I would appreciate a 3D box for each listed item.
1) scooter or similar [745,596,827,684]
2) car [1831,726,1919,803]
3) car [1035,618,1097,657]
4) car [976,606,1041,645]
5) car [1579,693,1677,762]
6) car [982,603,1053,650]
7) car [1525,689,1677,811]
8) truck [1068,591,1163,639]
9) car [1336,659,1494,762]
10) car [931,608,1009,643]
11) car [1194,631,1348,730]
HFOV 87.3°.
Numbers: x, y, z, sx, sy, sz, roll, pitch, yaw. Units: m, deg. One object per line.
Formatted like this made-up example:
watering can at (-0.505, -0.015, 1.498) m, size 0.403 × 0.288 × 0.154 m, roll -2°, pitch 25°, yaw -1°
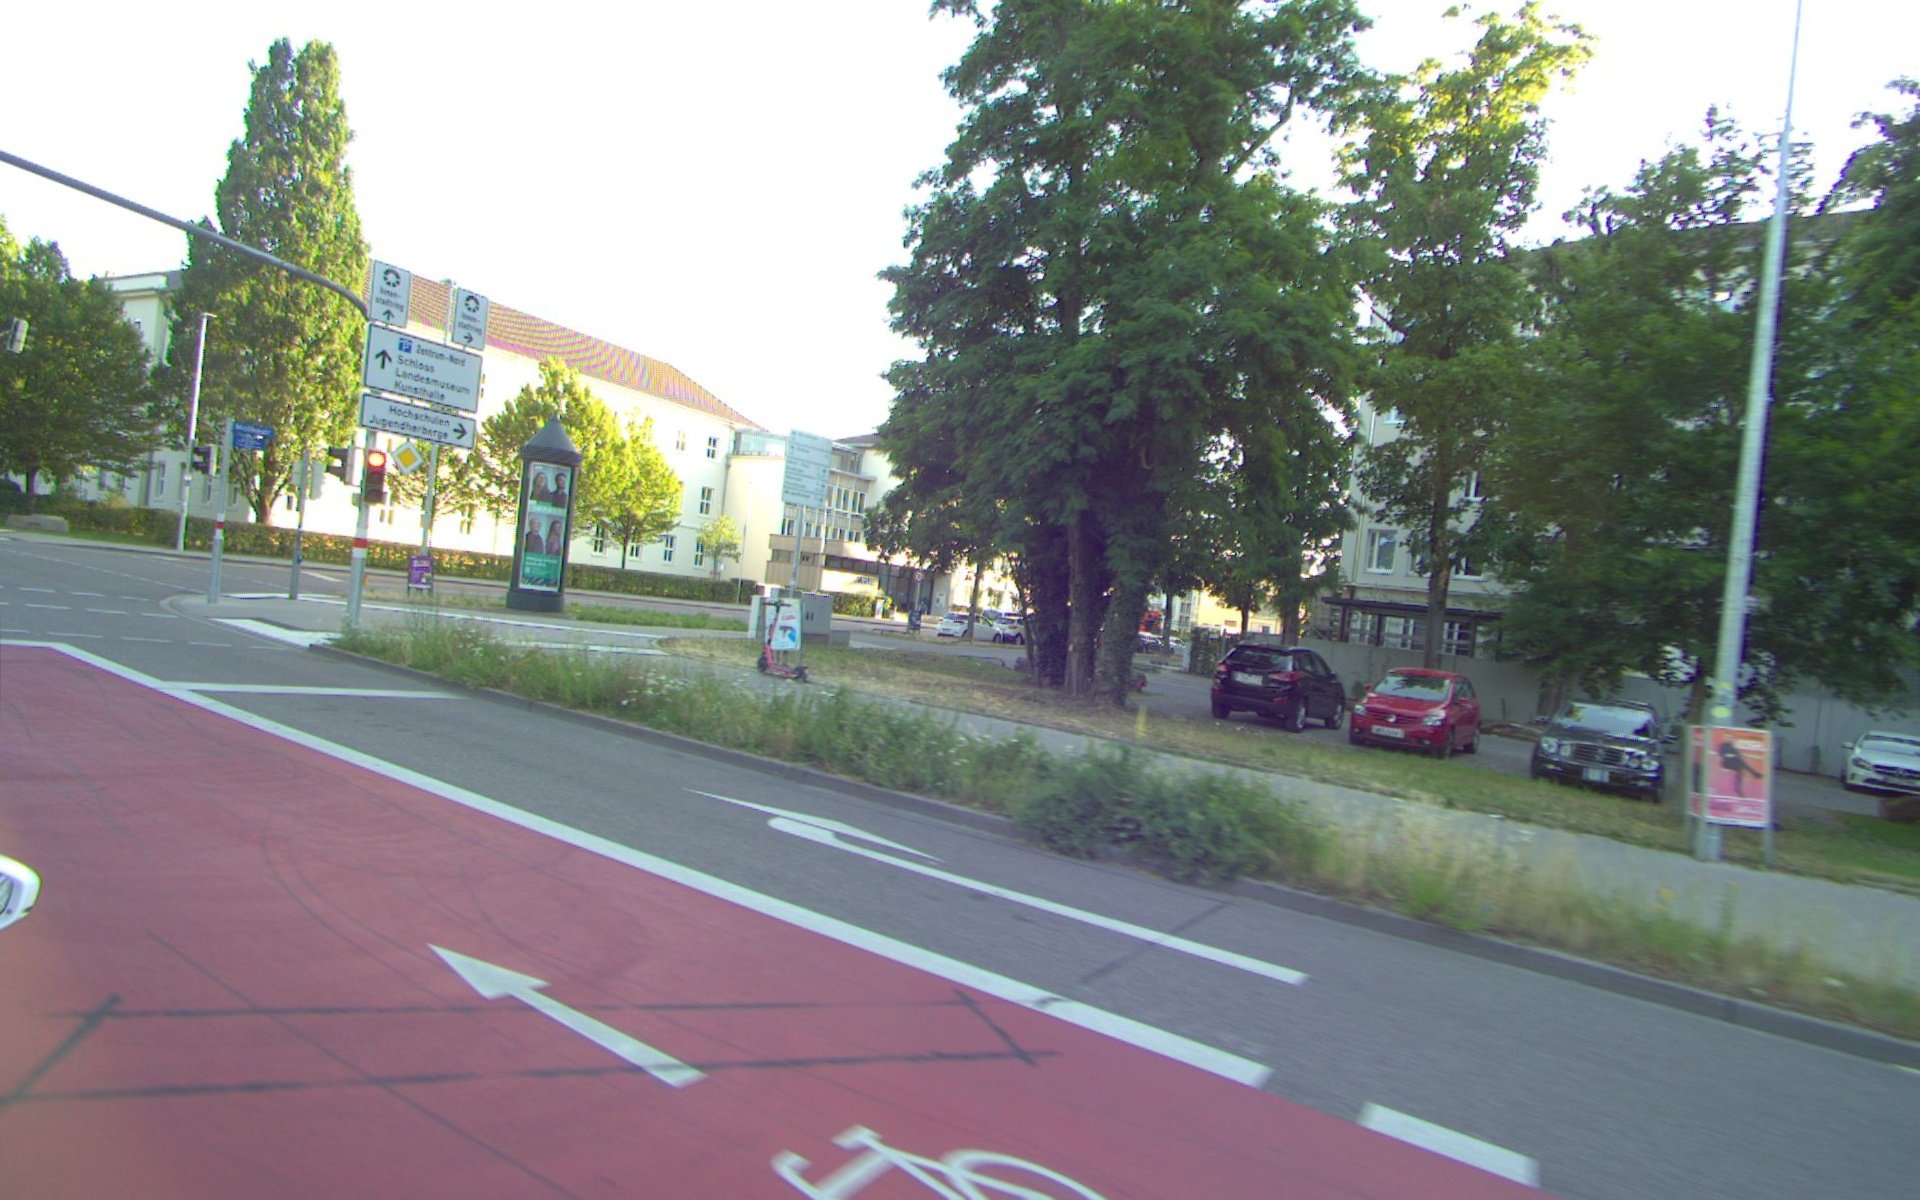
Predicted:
scooter or similar at (-2.796, 0.631, 16.104) m, size 1.289 × 1.246 × 0.311 m, roll 7°, pitch 1°, yaw 32°
car at (22.069, 3.880, 23.859) m, size 1.806 × 1.493 × 3.986 m, roll 7°, pitch -1°, yaw 39°
car at (6.186, 2.195, 58.348) m, size 1.721 × 1.782 × 3.990 m, roll 7°, pitch -1°, yaw 35°
car at (2.862, 1.519, 58.264) m, size 1.721 × 1.782 × 3.990 m, roll 7°, pitch -1°, yaw 35°
car at (18.095, 3.413, 27.187) m, size 1.873 × 1.459 × 3.988 m, roll 7°, pitch -1°, yaw 37°
car at (3.162, 1.449, 54.454) m, size 1.713 × 2.037 × 3.989 m, roll 7°, pitch -1°, yaw 37°
car at (11.113, 2.446, 17.387) m, size 1.871 × 1.467 × 4.568 m, roll 5°, pitch 0°, yaw 34°
truck at (11.057, 1.136, 70.689) m, size 2.328 × 2.314 × 10.051 m, roll 7°, pitch -2°, yaw 34°
car at (8.922, 2.112, 19.556) m, size 1.759 × 1.580 × 3.985 m, roll 7°, pitch 0°, yaw 38°
car at (0.554, 1.302, 50.989) m, size 1.793 × 1.358 × 3.986 m, roll 7°, pitch -1°, yaw 37°
car at (6.661, 1.741, 21.297) m, size 1.808 × 1.714 × 3.900 m, roll 7°, pitch -1°, yaw 36°
